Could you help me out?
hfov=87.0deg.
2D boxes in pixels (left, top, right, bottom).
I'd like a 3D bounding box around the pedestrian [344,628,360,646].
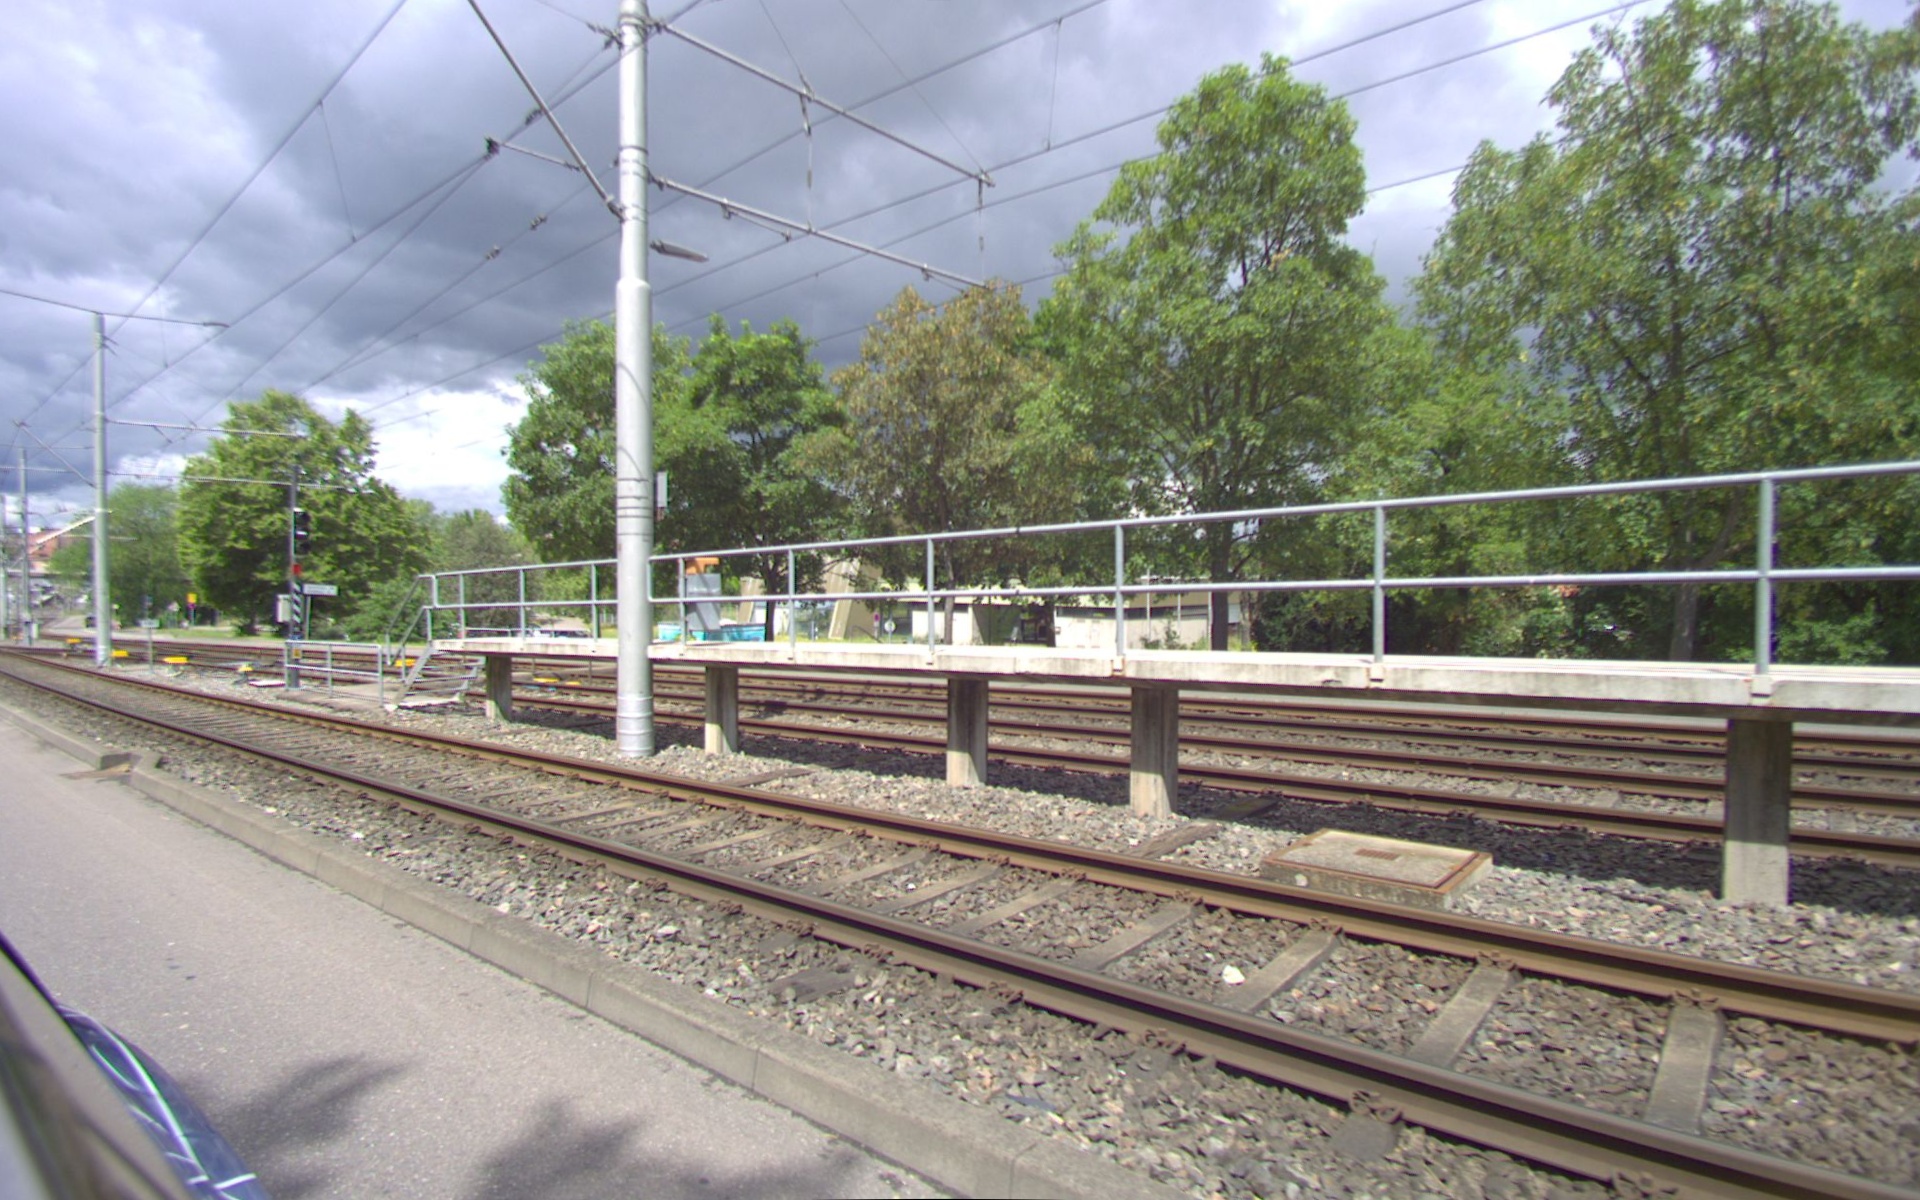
[{"bbox_3d":[-50.707,3.074,84.391,0.678,1.508,0.817,0,-2,17],"label":"pedestrian"}]
